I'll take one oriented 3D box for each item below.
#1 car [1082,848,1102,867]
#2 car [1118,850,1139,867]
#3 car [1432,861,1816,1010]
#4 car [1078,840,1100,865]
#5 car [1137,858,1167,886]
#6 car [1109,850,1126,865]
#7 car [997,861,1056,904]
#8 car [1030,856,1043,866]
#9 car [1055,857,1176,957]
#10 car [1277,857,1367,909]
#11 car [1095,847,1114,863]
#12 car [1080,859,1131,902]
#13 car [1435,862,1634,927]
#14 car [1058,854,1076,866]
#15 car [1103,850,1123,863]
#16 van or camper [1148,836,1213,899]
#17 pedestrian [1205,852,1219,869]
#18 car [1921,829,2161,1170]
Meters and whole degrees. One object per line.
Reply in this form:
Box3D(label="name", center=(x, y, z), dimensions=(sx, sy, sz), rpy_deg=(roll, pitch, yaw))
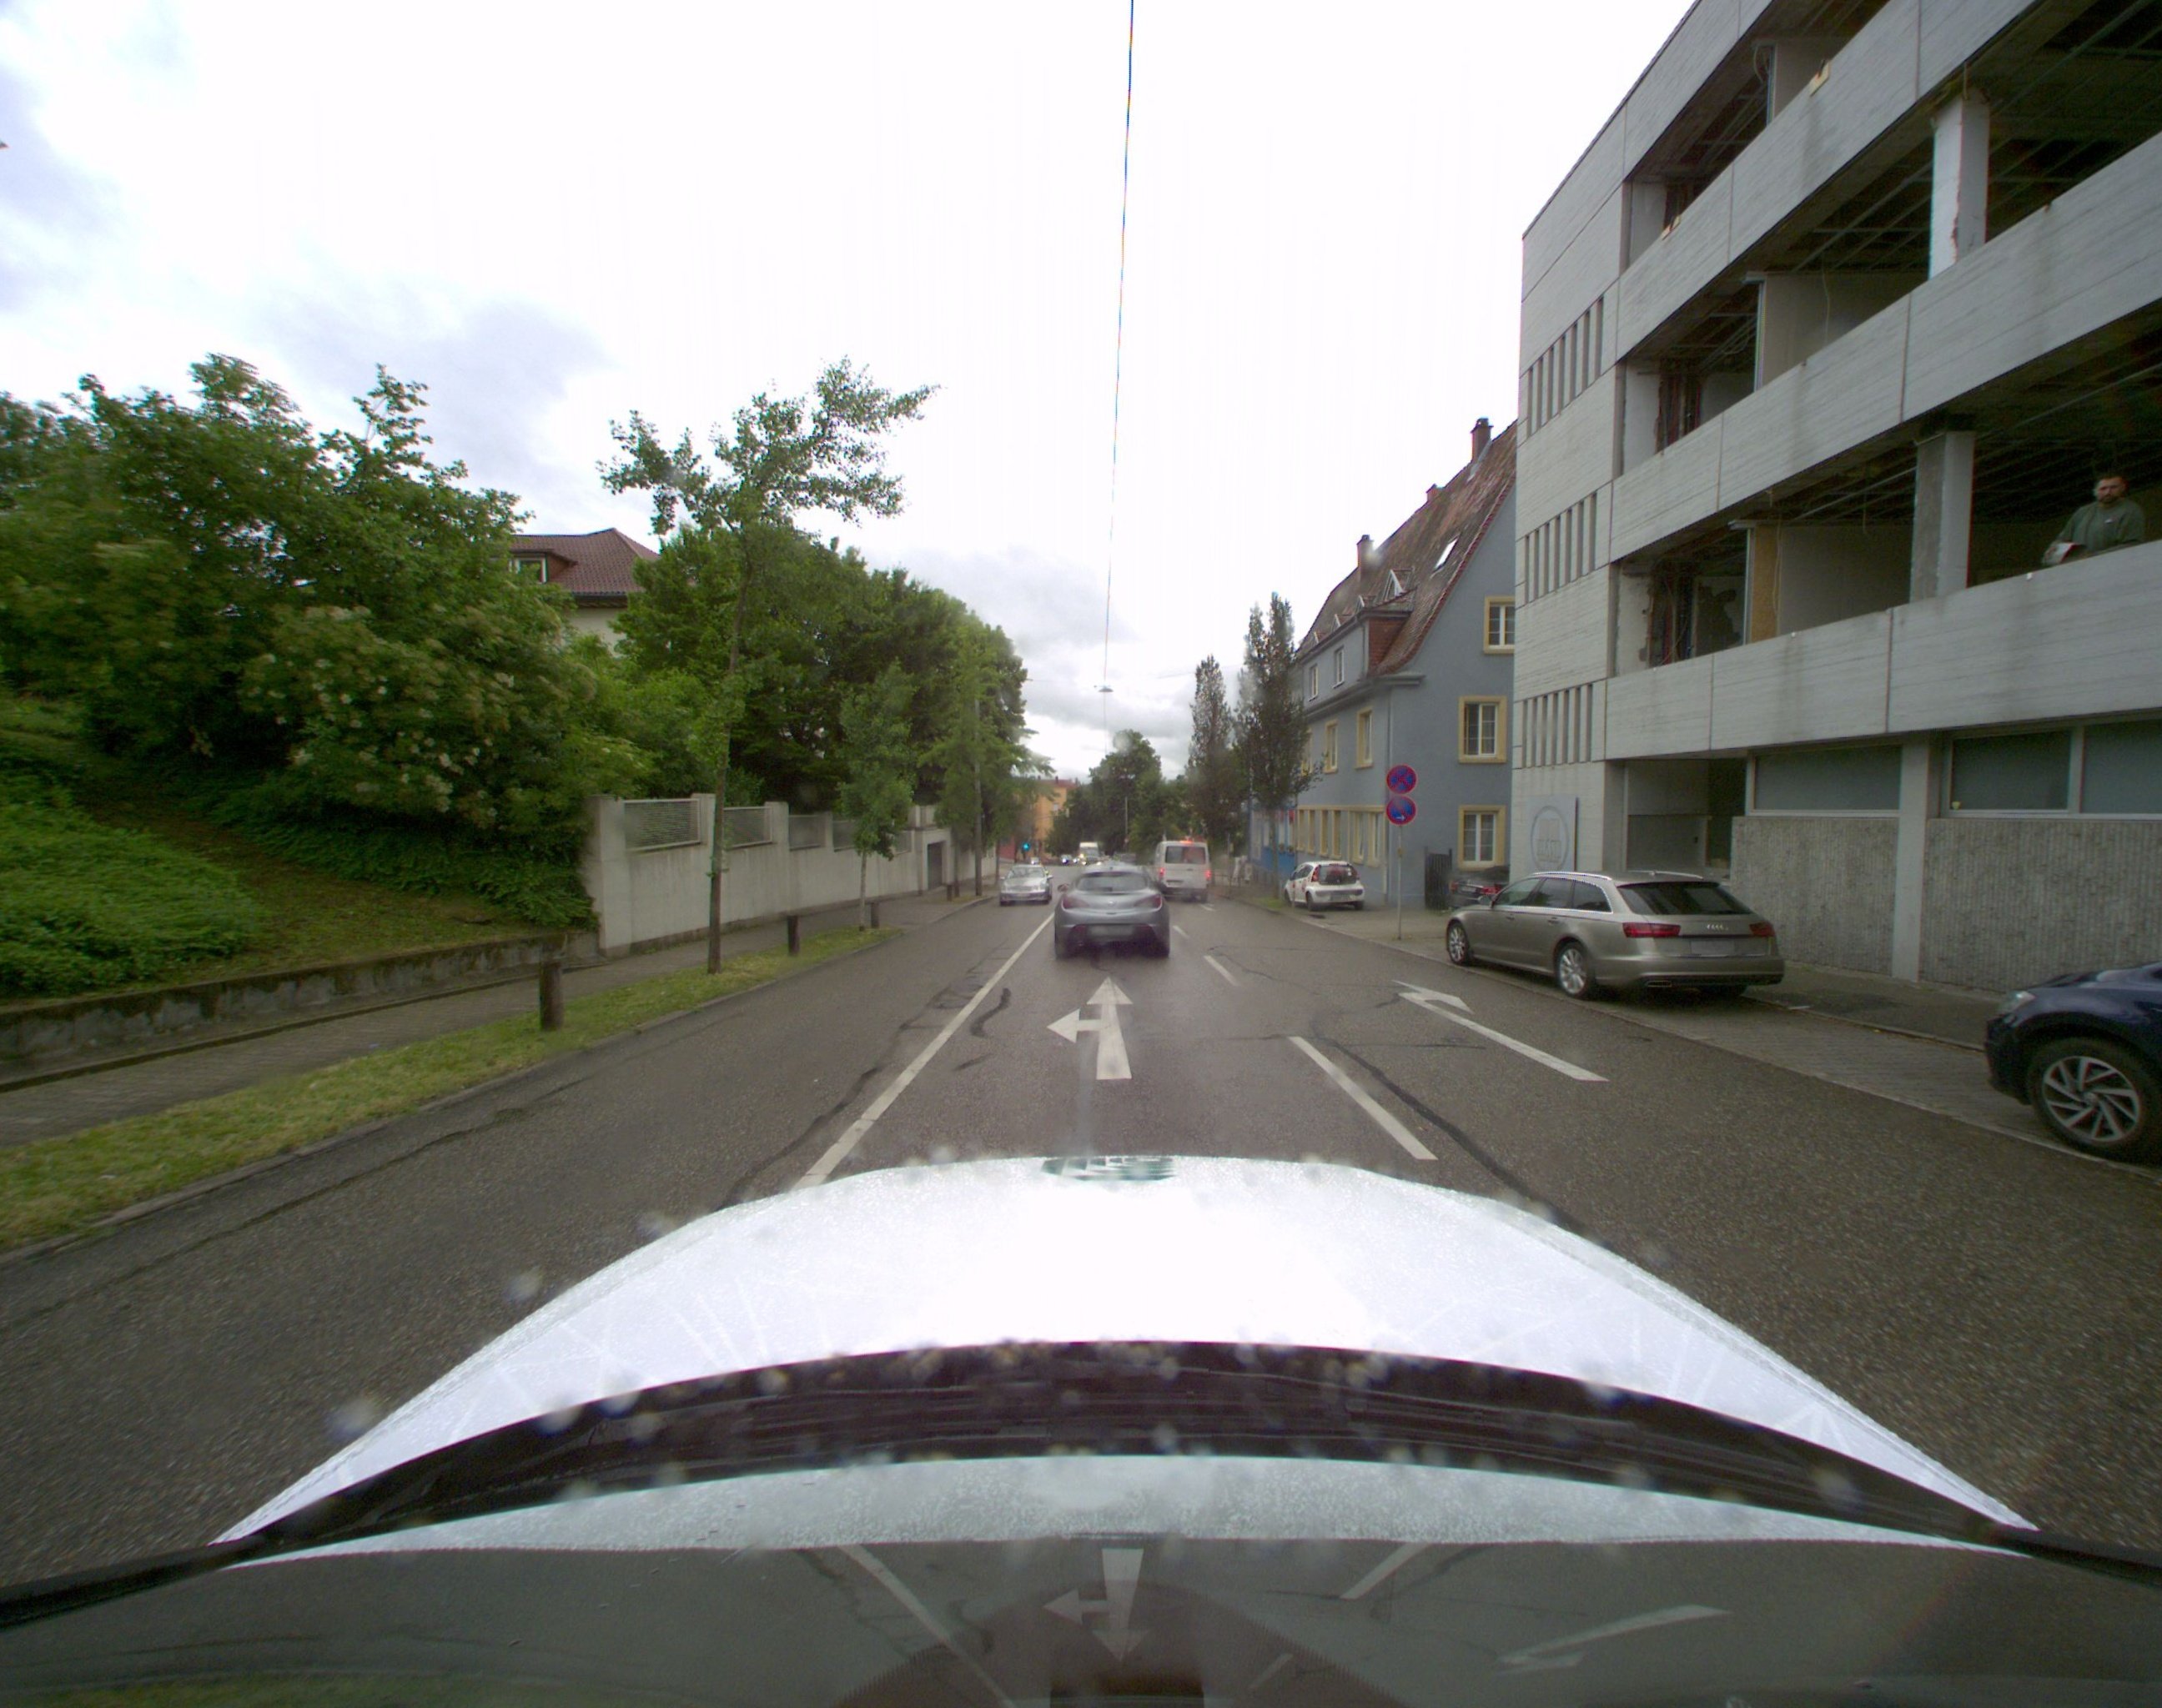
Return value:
Box3D(label="car", center=(1.000, 0.309, 76.356), dimensions=(1.816, 1.652, 4.344), rpy_deg=(1, 1, -1))
Box3D(label="car", center=(4.155, 0.415, 71.007), dimensions=(1.615, 1.486, 3.435), rpy_deg=(0, -1, 0))
Box3D(label="car", center=(6.486, 0.838, 10.568), dimensions=(1.809, 1.459, 4.740), rpy_deg=(0, 0, 0))
Box3D(label="car", center=(0.765, -0.096, 85.886), dimensions=(2.112, 2.546, 5.536), rpy_deg=(0, -1, -2))
Box3D(label="car", center=(3.728, 0.916, 43.254), dimensions=(1.378, 1.412, 3.458), rpy_deg=(-1, 0, 2))
Box3D(label="car", center=(3.712, 0.335, 84.175), dimensions=(1.615, 1.486, 3.435), rpy_deg=(0, -1, 0))
Box3D(label="car", center=(-1.937, 1.002, 30.140), dimensions=(1.713, 1.384, 4.286), rpy_deg=(-2, 0, 2))
Box3D(label="car", center=(-7.342, 1.142, 134.107), dimensions=(1.774, 1.497, 4.248), rpy_deg=(1, -1, -10))
Box3D(label="car", center=(0.579, 0.805, 14.251), dimensions=(1.808, 1.429, 4.002), rpy_deg=(0, 1, 2))
Box3D(label="car", center=(7.355, 0.836, 25.162), dimensions=(1.582, 1.411, 3.453), rpy_deg=(-2, 0, -2))
Box3D(label="car", center=(3.001, 0.144, 104.967), dimensions=(1.780, 1.855, 3.989), rpy_deg=(0, -1, -7))
Box3D(label="car", center=(0.908, 0.935, 30.301), dimensions=(1.769, 1.430, 3.787), rpy_deg=(-1, 0, 1))
Box3D(label="car", center=(11.201, 0.986, 20.142), dimensions=(4.365, 1.407, 1.798), rpy_deg=(3, -1, -18))
Box3D(label="car", center=(-1.974, 0.800, 111.111), dimensions=(1.874, 1.575, 4.572), rpy_deg=(0, -1, -9))
Box3D(label="car", center=(4.383, 0.310, 111.360), dimensions=(1.815, 1.495, 3.986), rpy_deg=(-6, 0, -10))
Box3D(label="van or camper", center=(3.975, 0.524, 33.343), dimensions=(2.096, 2.326, 5.419), rpy_deg=(2, 0, 2))
Box3D(label="pedestrian", center=(12.510, 0.633, 77.770), dimensions=(0.953, 1.605, 0.773), rpy_deg=(-3, -1, 43))
Box3D(label="car", center=(6.160, 0.707, 2.990), dimensions=(1.738, 1.674, 4.345), rpy_deg=(0, 0, 1))
